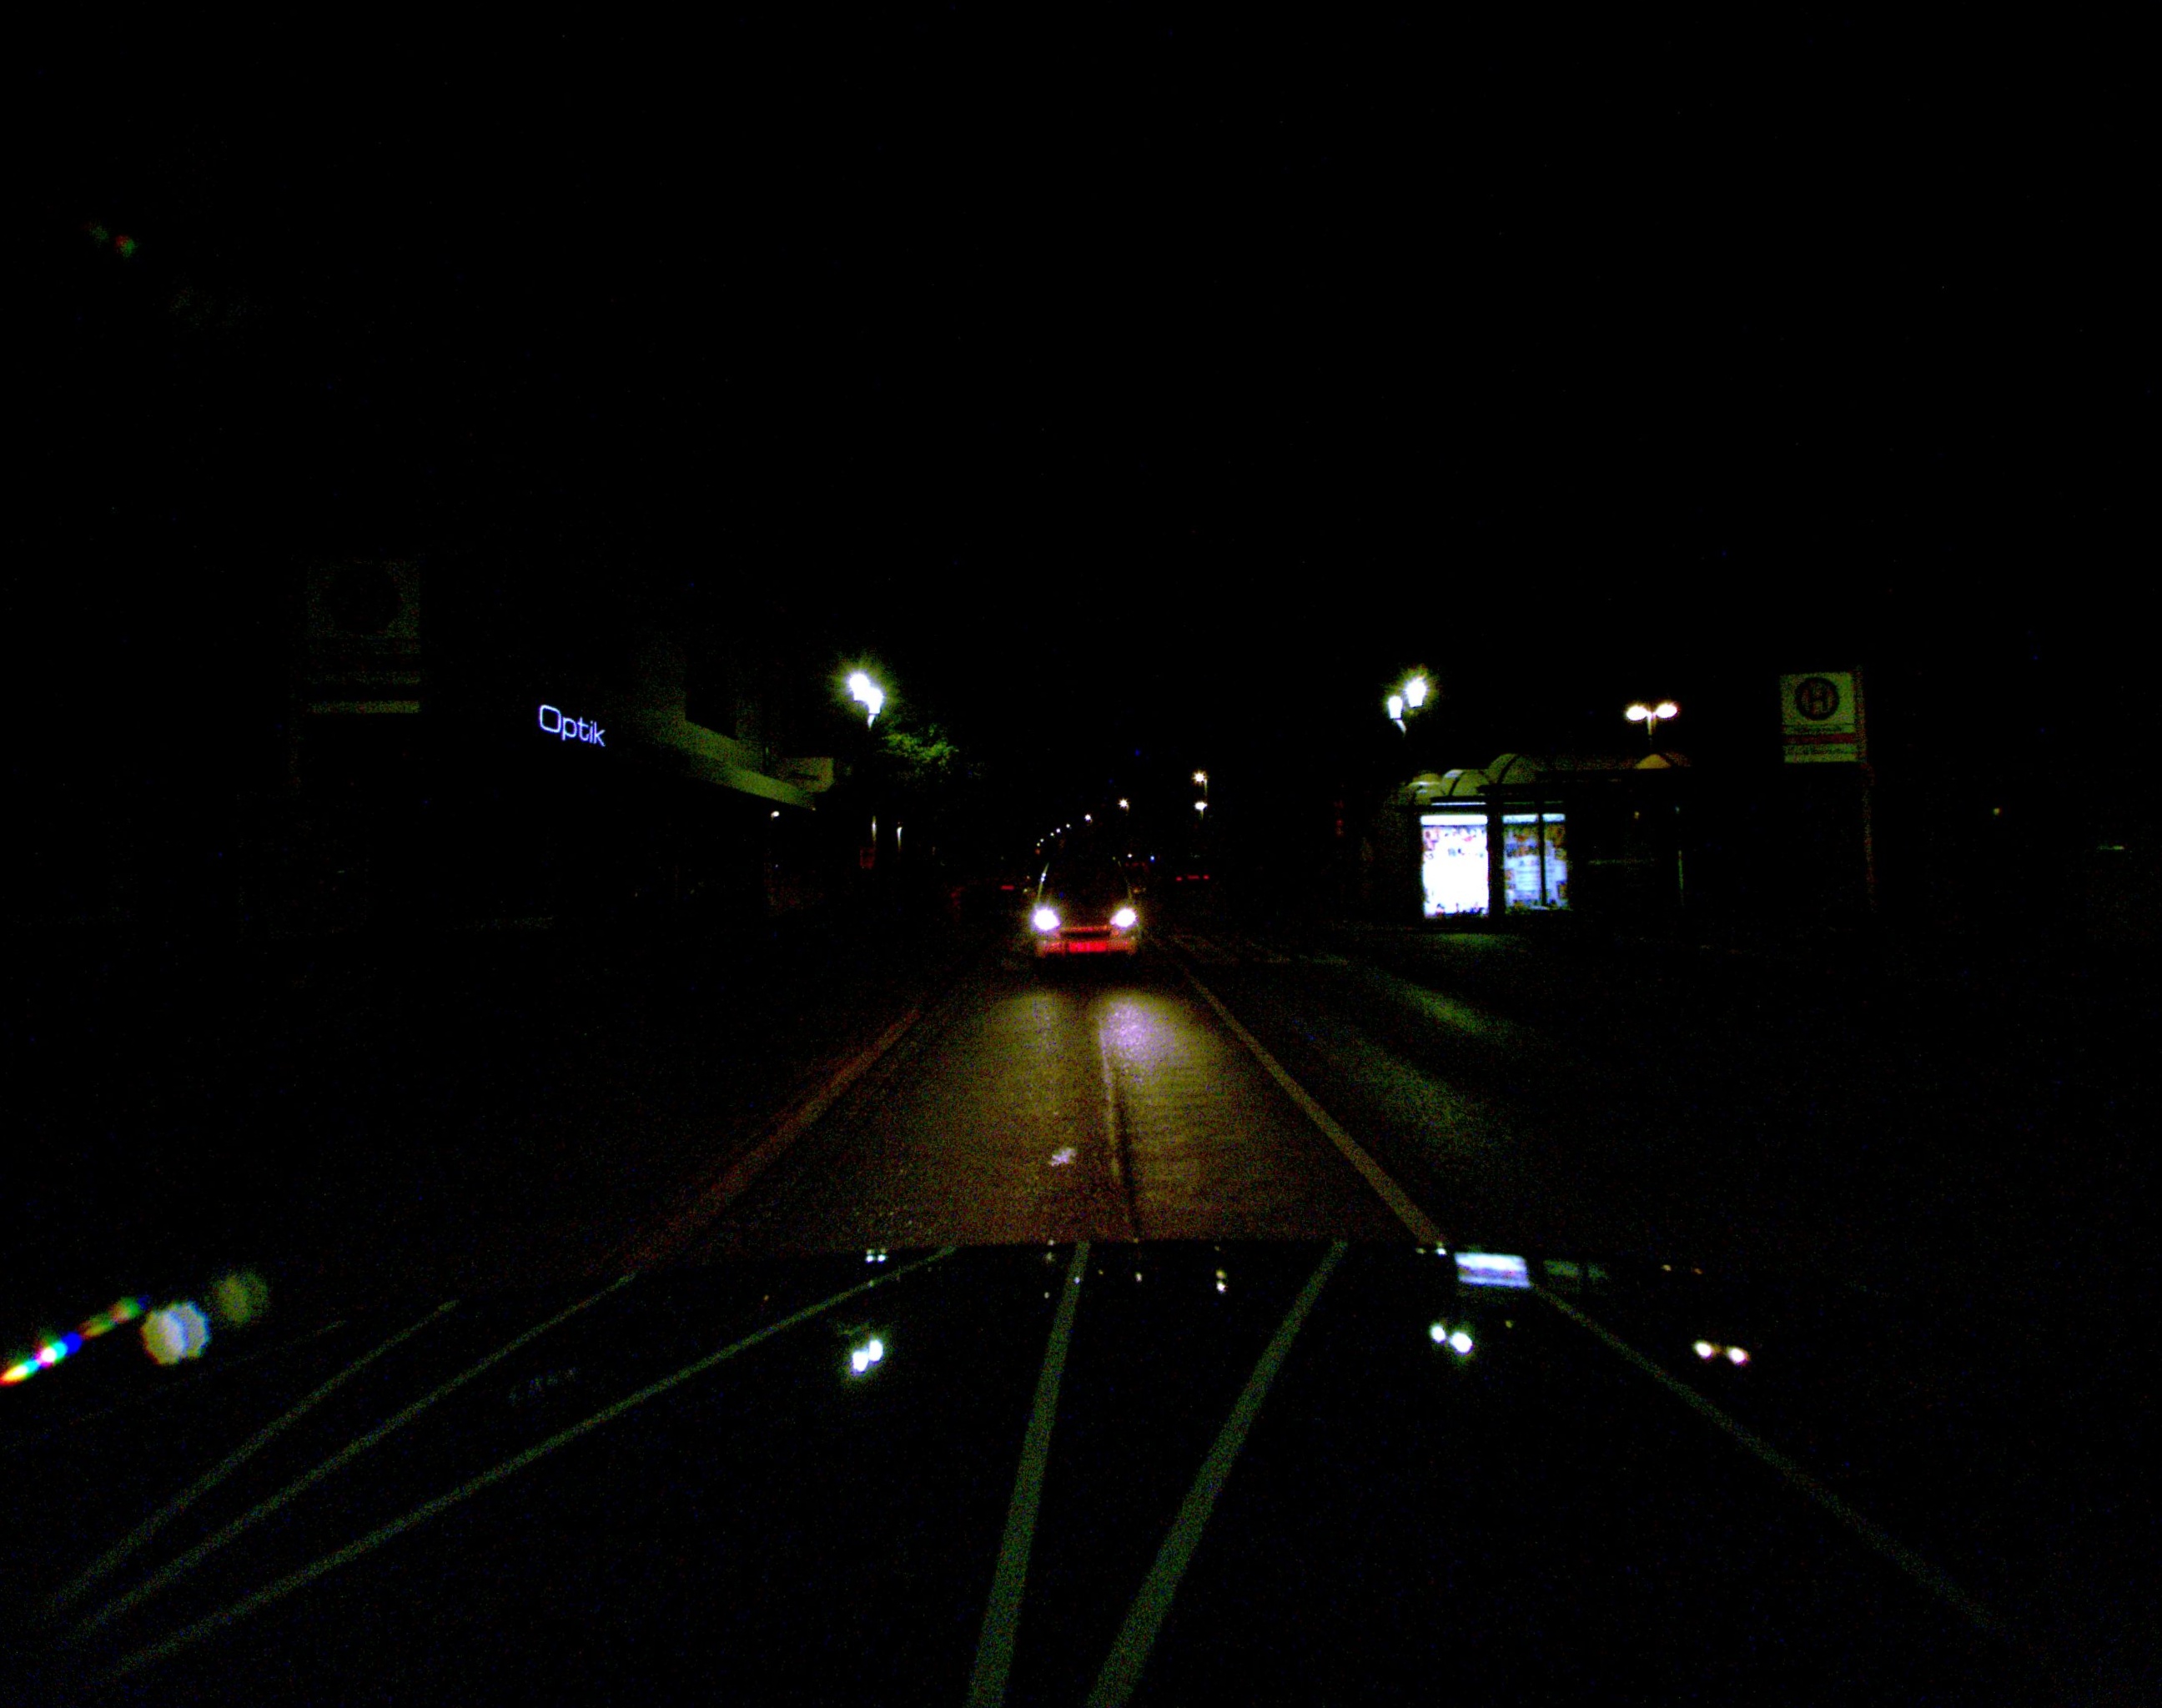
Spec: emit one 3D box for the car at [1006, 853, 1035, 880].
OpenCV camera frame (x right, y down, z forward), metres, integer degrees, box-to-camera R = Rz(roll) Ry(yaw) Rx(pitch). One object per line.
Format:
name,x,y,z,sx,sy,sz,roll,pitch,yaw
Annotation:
car,-3.904,0.762,49.289,1.792,1.632,4.378,0,0,-4

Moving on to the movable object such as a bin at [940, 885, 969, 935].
movable object such as a bin,-2.592,1.131,15.527,0.525,0.932,0.629,-2,2,-11

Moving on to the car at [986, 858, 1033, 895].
car,-3.017,0.914,32.839,1.863,1.434,4.592,0,1,-3

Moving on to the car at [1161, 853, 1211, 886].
car,5.105,0.738,37.259,1.696,1.428,4.127,-3,0,-2

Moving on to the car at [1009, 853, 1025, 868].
car,-7.222,0.709,85.665,1.643,1.458,3.774,-3,1,-5

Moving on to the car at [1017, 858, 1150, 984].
car,0.106,0.864,11.423,1.627,1.496,3.550,-2,1,2

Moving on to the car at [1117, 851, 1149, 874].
car,3.692,0.587,54.633,1.697,1.515,3.688,-2,2,-6
